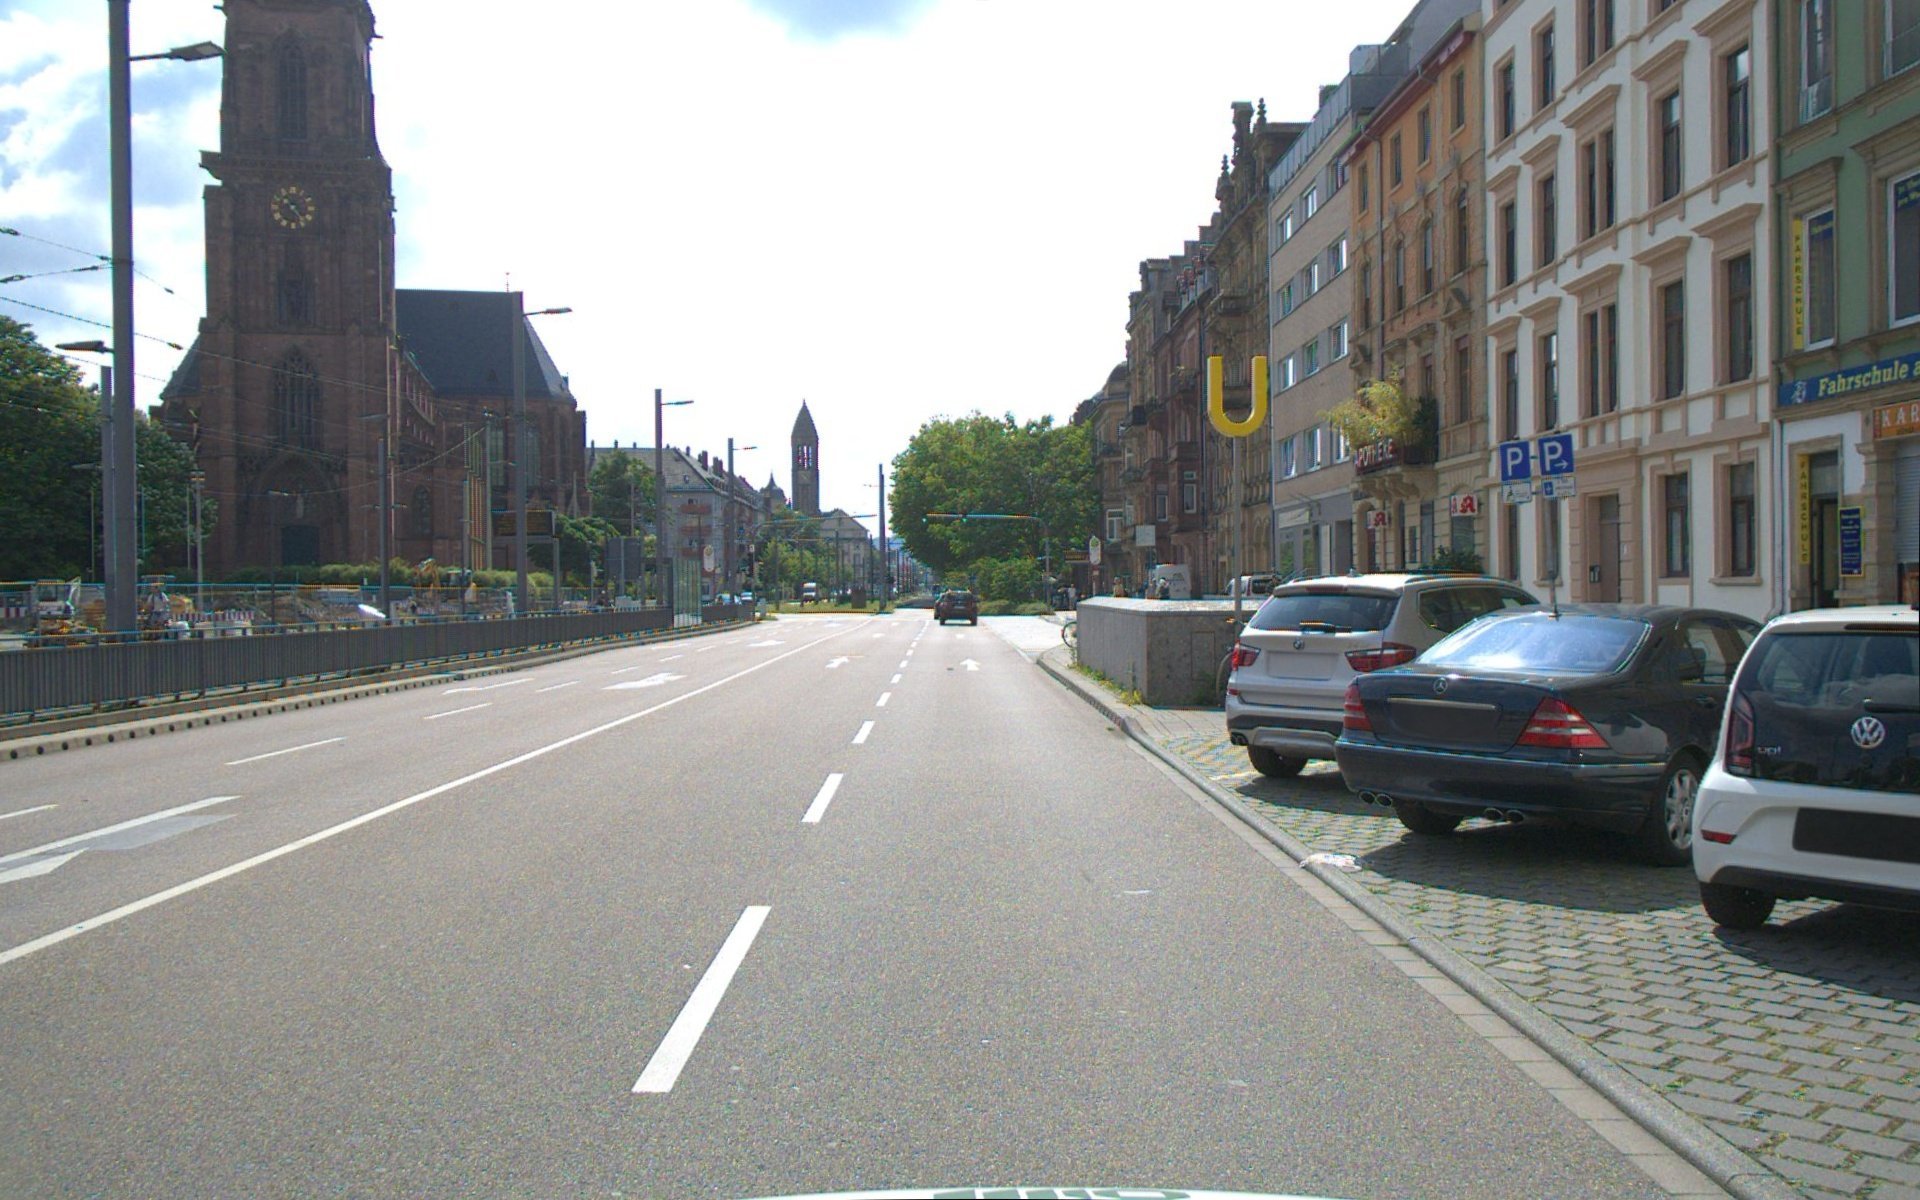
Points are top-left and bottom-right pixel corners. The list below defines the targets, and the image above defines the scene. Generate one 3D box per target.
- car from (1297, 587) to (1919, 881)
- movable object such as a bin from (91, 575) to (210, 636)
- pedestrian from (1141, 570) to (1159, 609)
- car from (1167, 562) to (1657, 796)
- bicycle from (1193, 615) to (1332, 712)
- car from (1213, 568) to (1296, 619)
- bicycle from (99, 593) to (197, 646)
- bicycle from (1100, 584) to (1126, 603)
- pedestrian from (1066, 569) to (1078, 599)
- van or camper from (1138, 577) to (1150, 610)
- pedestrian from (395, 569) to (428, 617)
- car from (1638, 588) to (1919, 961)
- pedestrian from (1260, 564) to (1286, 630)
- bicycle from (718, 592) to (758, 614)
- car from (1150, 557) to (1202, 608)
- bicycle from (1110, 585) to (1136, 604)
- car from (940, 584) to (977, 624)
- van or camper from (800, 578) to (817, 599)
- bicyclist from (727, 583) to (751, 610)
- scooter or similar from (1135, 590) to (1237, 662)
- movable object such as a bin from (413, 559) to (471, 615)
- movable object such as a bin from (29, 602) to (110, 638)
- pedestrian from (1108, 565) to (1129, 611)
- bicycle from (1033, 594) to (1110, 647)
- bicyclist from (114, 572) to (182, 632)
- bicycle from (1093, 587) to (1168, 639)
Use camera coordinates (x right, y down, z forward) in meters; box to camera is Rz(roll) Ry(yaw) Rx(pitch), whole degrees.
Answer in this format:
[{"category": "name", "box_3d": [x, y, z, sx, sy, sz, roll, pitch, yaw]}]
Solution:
[{"category": "car", "box_3d": [4.342, 0.664, 10.634, 4.558, 1.486, 1.911, -1, 1, -41]}, {"category": "movable object such as a bin", "box_3d": [-41.425, 0.261, 84.763, 5.041, 2.962, 1.997, -1, 0, -8]}, {"category": "pedestrian", "box_3d": [9.188, -0.526, 80.021, 0.650, 1.868, 0.693, -1, 0, -7]}, {"category": "car", "box_3d": [4.032, 0.543, 14.300, 4.560, 1.676, 2.029, -1, 1, -44]}, {"category": "bicycle", "box_3d": [3.885, 0.807, 21.314, 1.600, 1.114, 0.612, 3, 2, -3]}, {"category": "car", "box_3d": [11.477, -0.248, 64.869, 1.955, 1.894, 4.746, -1, 0, -6]}, {"category": "bicycle", "box_3d": [-23.700, 0.551, 48.389, 1.169, 1.452, 3.692, -1, 0, -2]}, {"category": "bicycle", "box_3d": [10.660, -0.437, 115.310, 1.732, 1.290, 0.467, -1, 2, 3]}, {"category": "pedestrian", "box_3d": [7.719, -1.122, 113.725, 0.752, 2.049, 0.715, -1, 0, 0]}, {"category": "van or camper", "box_3d": [11.377, -0.415, 102.173, 0.652, 2.049, 0.638, -1, 0, -1]}, {"category": "pedestrian", "box_3d": [-24.194, -0.312, 72.968, 1.043, 2.049, 1.051, -1, 0, 3]}, {"category": "car", "box_3d": [4.916, 0.694, 7.939, 3.466, 1.479, 1.752, 0, 0, -42]}, {"category": "pedestrian", "box_3d": [10.290, -0.113, 54.334, 0.706, 2.135, 0.786, -1, 2, 0]}, {"category": "bicycle", "box_3d": [-12.215, 0.155, 91.099, 1.975, 1.146, 0.932, -1, 0, 10]}, {"category": "car", "box_3d": [11.341, -0.920, 87.202, 1.953, 2.569, 5.888, -1, 1, 0]}, {"category": "bicycle", "box_3d": [10.972, -0.366, 111.353, 1.709, 1.290, 0.467, -1, 2, 3]}, {"category": "car", "box_3d": [-0.102, 0.162, 79.912, 1.655, 1.741, 3.608, -1, 3, -2]}, {"category": "van or camper", "box_3d": [-21.414, -1.604, 234.143, 2.211, 2.785, 6.198, -1, 0, -4]}, {"category": "bicyclist", "box_3d": [-12.173, -0.193, 91.130, 1.065, 1.461, 0.825, -1, 0, 9]}, {"category": "scooter or similar", "box_3d": [5.162, 0.587, 37.834, 2.275, 1.572, 0.698, 0, 2, 5]}, {"category": "movable object such as a bin", "box_3d": [-31.163, -0.824, 99.686, 1.952, 3.159, 4.003, -1, 3, 4]}, {"category": "movable object such as a bin", "box_3d": [-41.223, 0.905, 76.671, 1.959, 1.529, 5.137, -1, 0, -13]}, {"category": "pedestrian", "box_3d": [6.728, -0.513, 70.238, 0.653, 1.936, 0.691, -1, 0, -19]}, {"category": "bicycle", "box_3d": [2.833, 0.514, 42.016, 1.891, 1.259, 0.440, -1, 2, -14]}, {"category": "bicyclist", "box_3d": [-23.707, 0.054, 48.326, 1.154, 1.713, 1.684, -1, 0, -2]}, {"category": "bicycle", "box_3d": [4.415, 0.332, 42.881, 1.890, 1.259, 0.440, -1, 2, -11]}]
